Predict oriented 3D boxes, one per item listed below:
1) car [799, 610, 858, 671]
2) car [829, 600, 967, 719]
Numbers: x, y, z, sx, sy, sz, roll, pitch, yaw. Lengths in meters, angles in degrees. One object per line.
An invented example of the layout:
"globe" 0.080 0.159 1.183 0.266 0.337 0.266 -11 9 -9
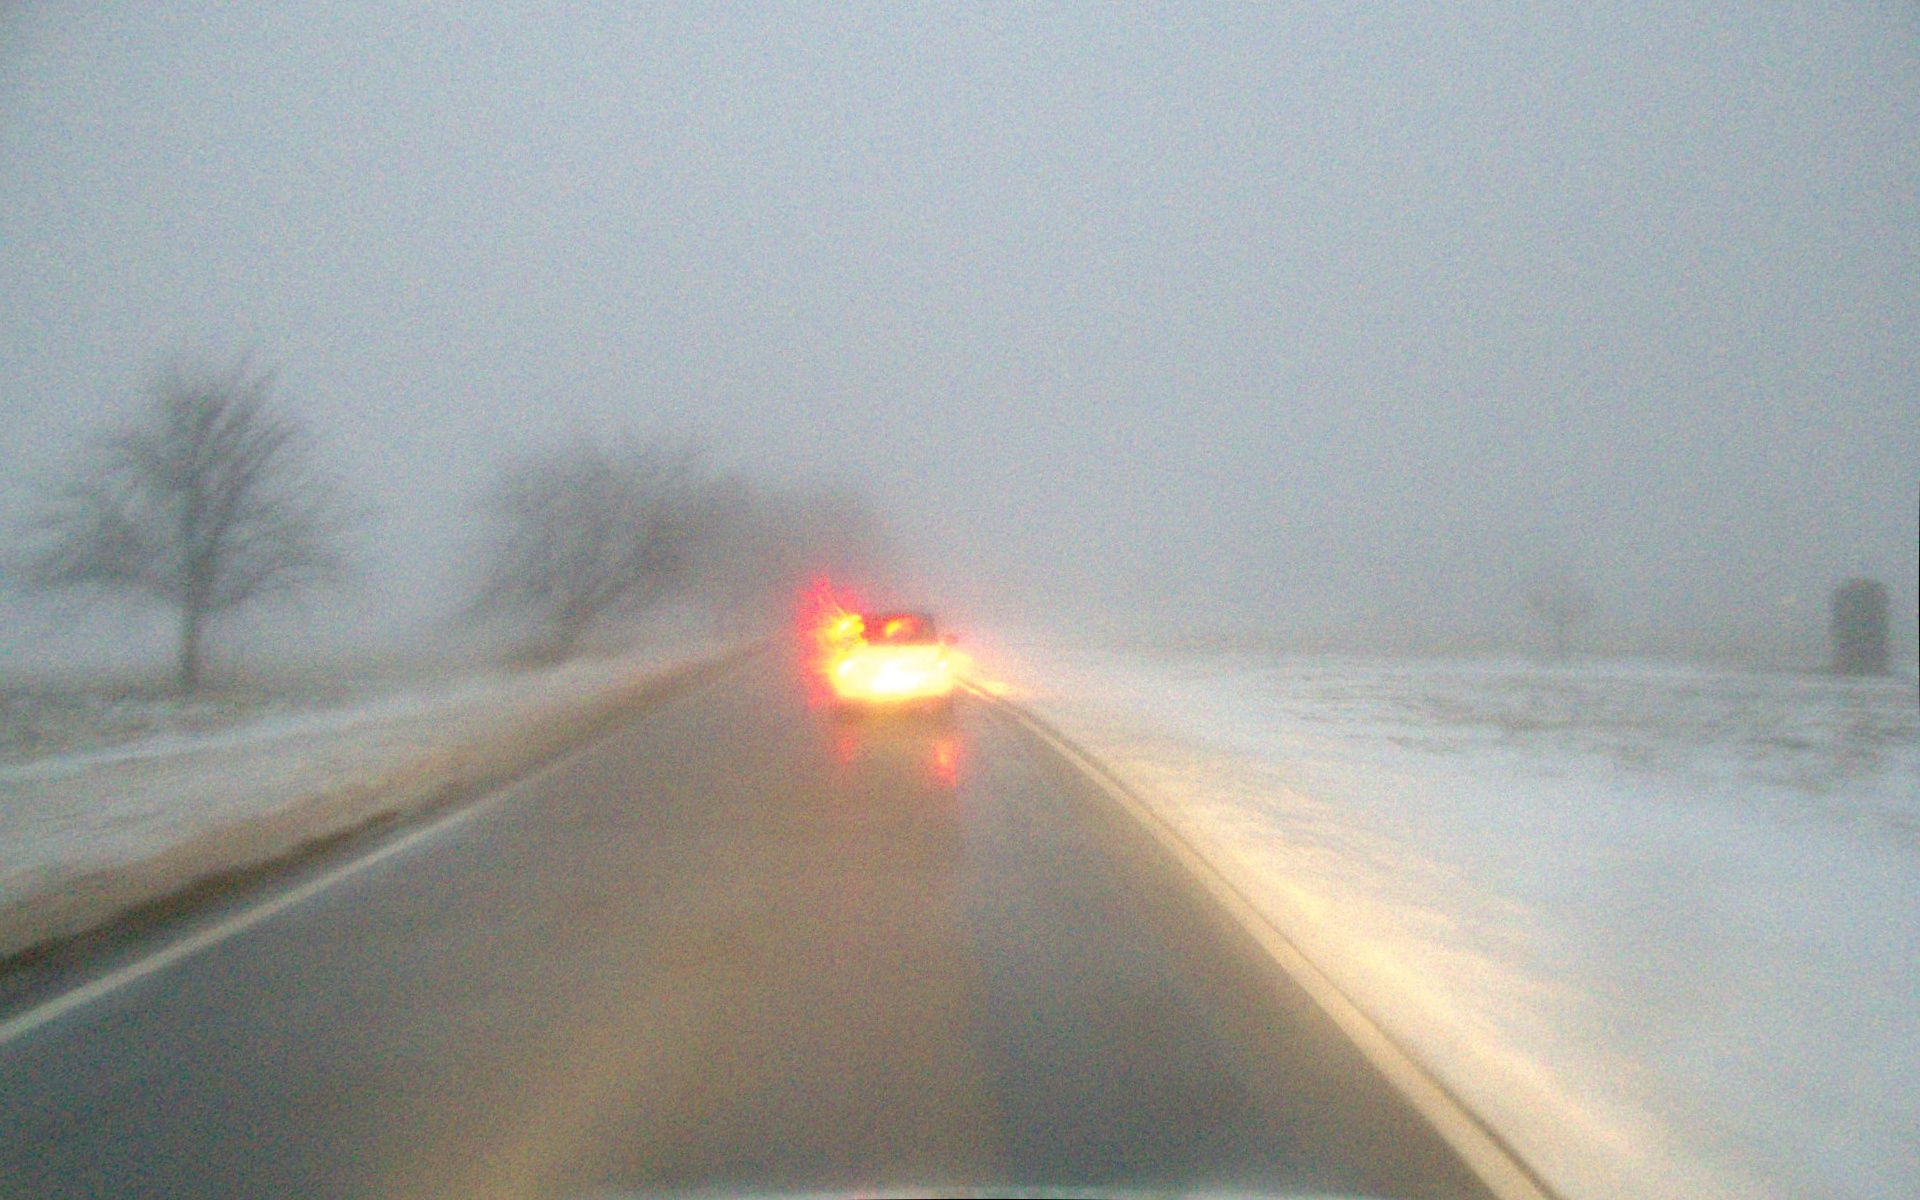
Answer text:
"car" -3.467 1.050 44.034 1.449 1.534 3.051 -1 -1 -3
"car" -0.938 0.763 22.896 1.674 1.489 3.995 1 0 -5
